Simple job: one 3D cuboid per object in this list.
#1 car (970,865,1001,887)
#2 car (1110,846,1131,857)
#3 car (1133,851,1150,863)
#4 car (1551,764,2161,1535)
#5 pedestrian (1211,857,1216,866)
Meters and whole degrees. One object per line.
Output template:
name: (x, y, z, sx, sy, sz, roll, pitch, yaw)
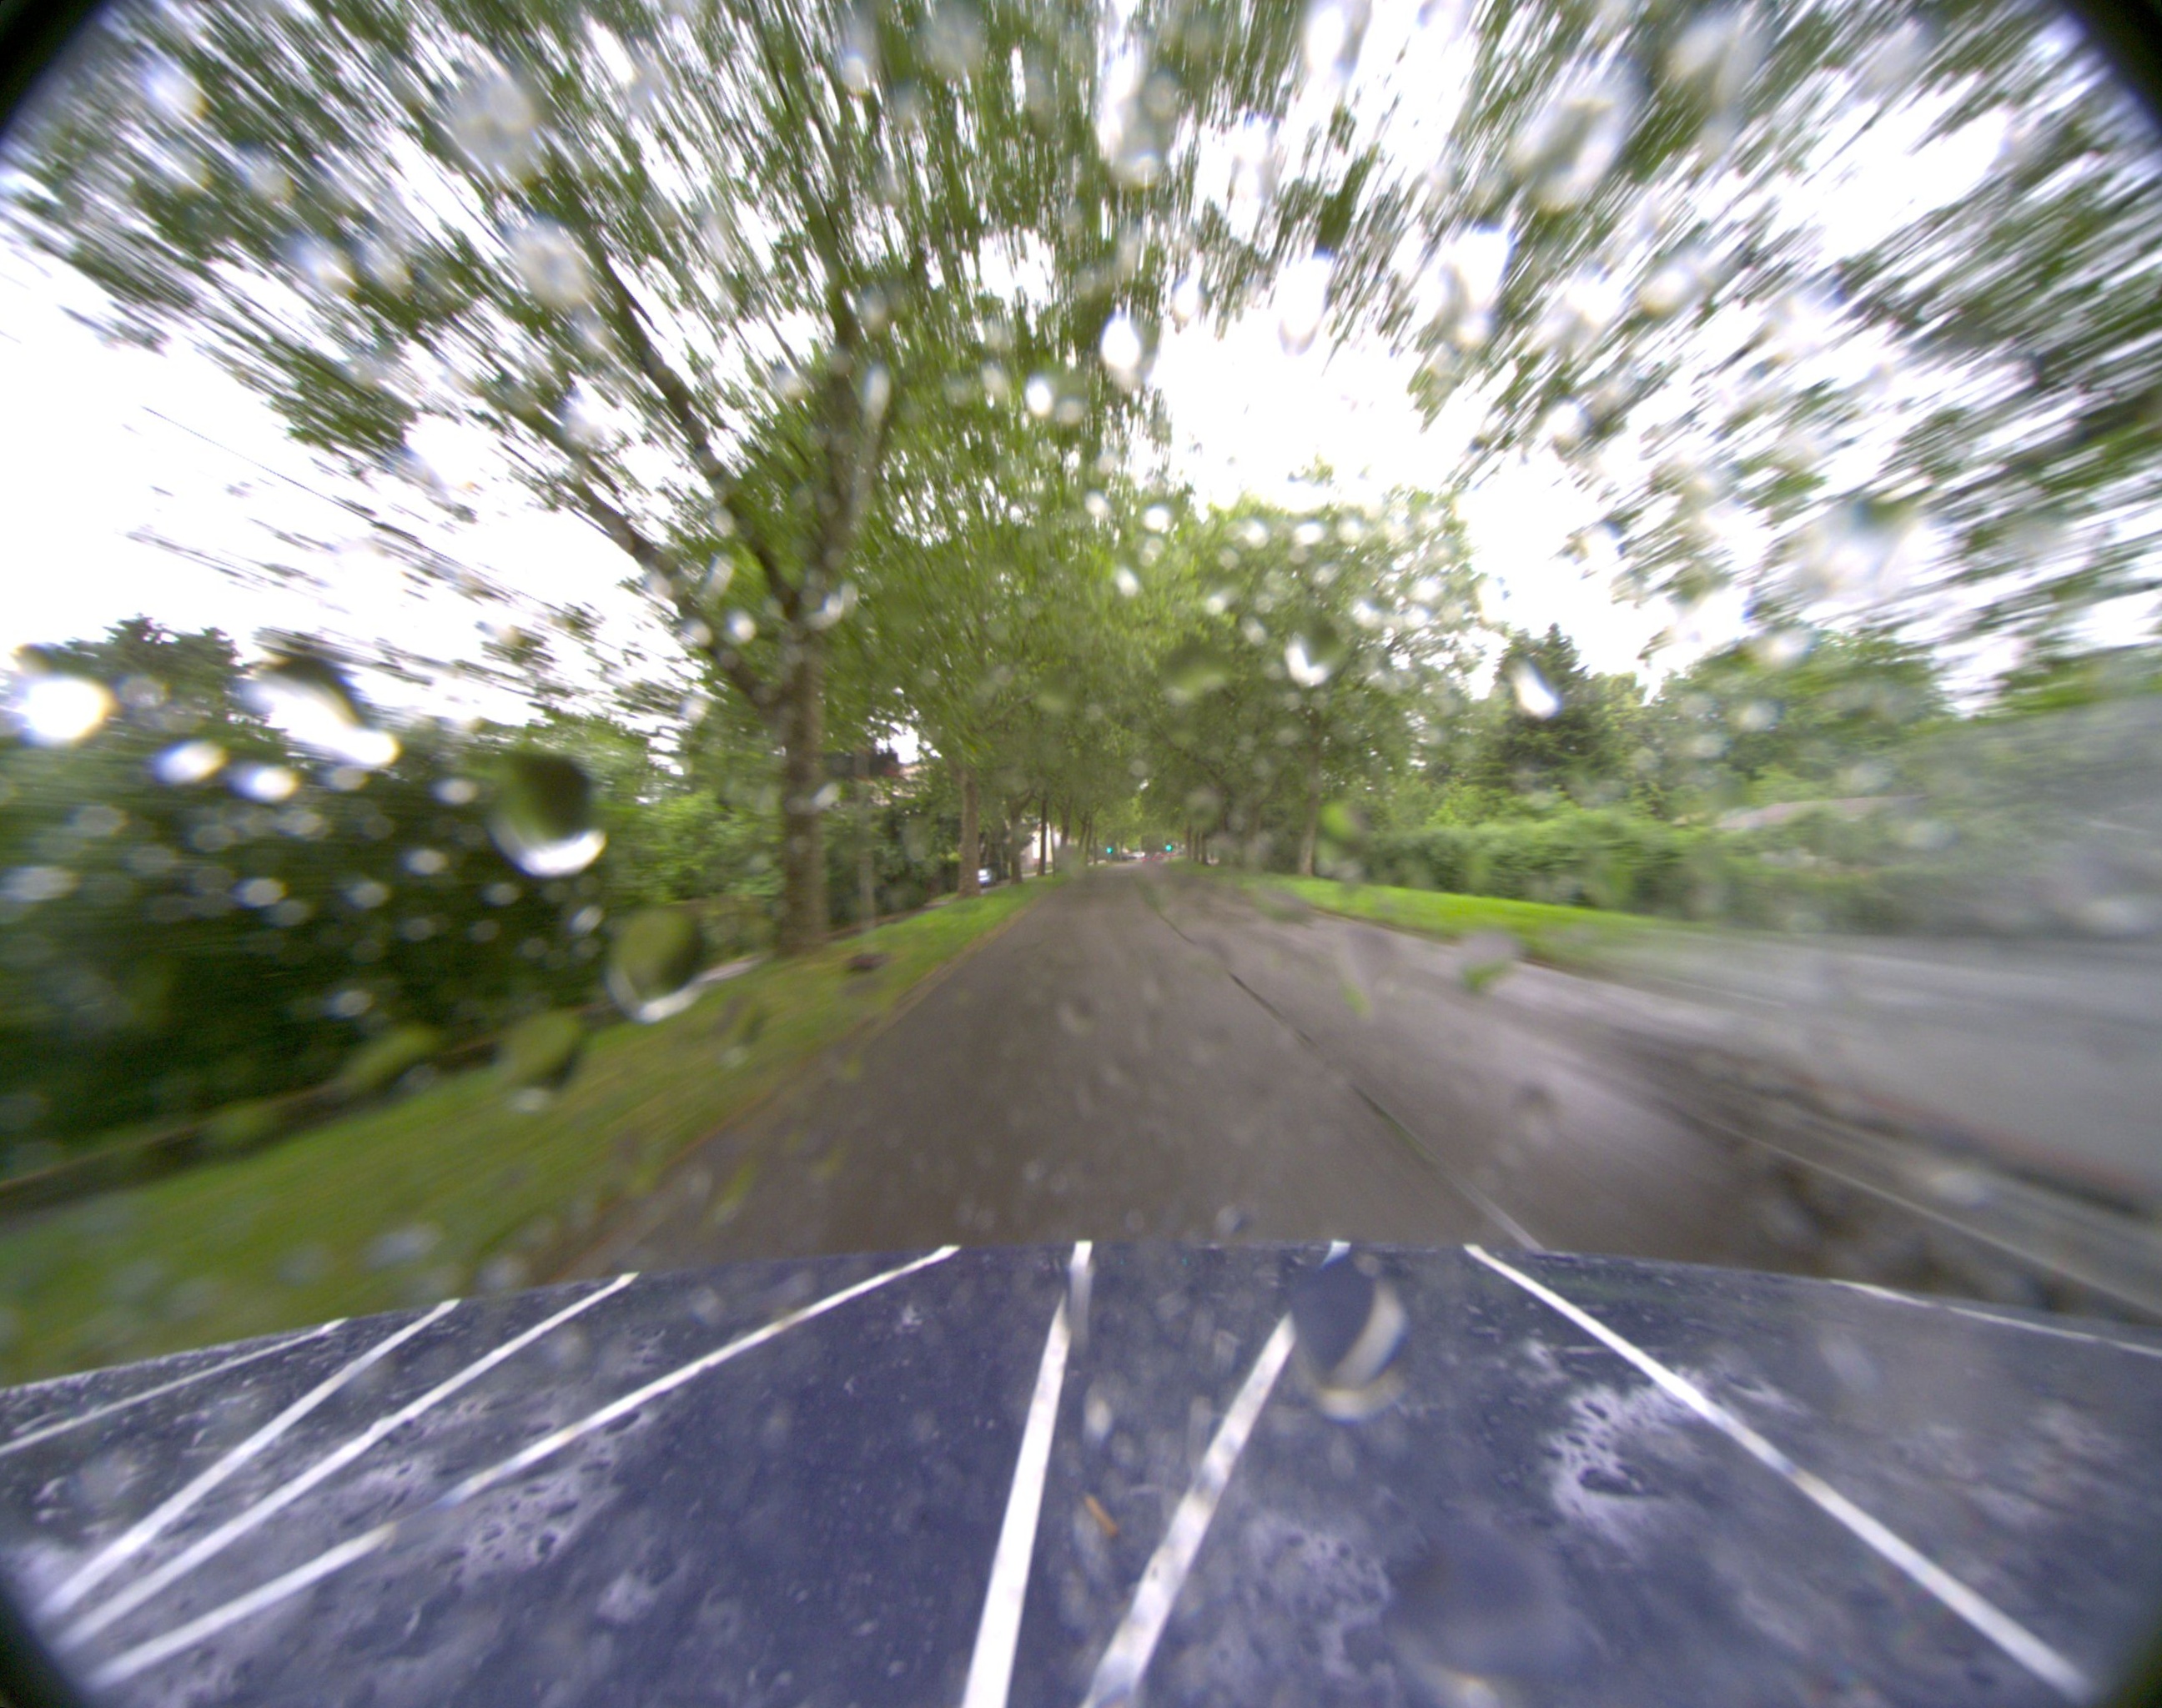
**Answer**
car: (-7.513, 1.703, 59.995, 1.800, 1.317, 3.999, -7, 1, 0)
car: (8.074, -0.504, 155.117, 4.261, 1.845, 1.892, -3, 1, 4)
car: (7.991, 0.354, 100.596, 1.850, 1.493, 4.000, -3, 0, 2)
car: (3.365, 0.657, 1.412, 1.867, 1.739, 5.015, -1, 0, 0)
pedestrian: (18.558, 1.013, 106.496, 0.517, 1.254, 0.849, -3, 1, 7)
